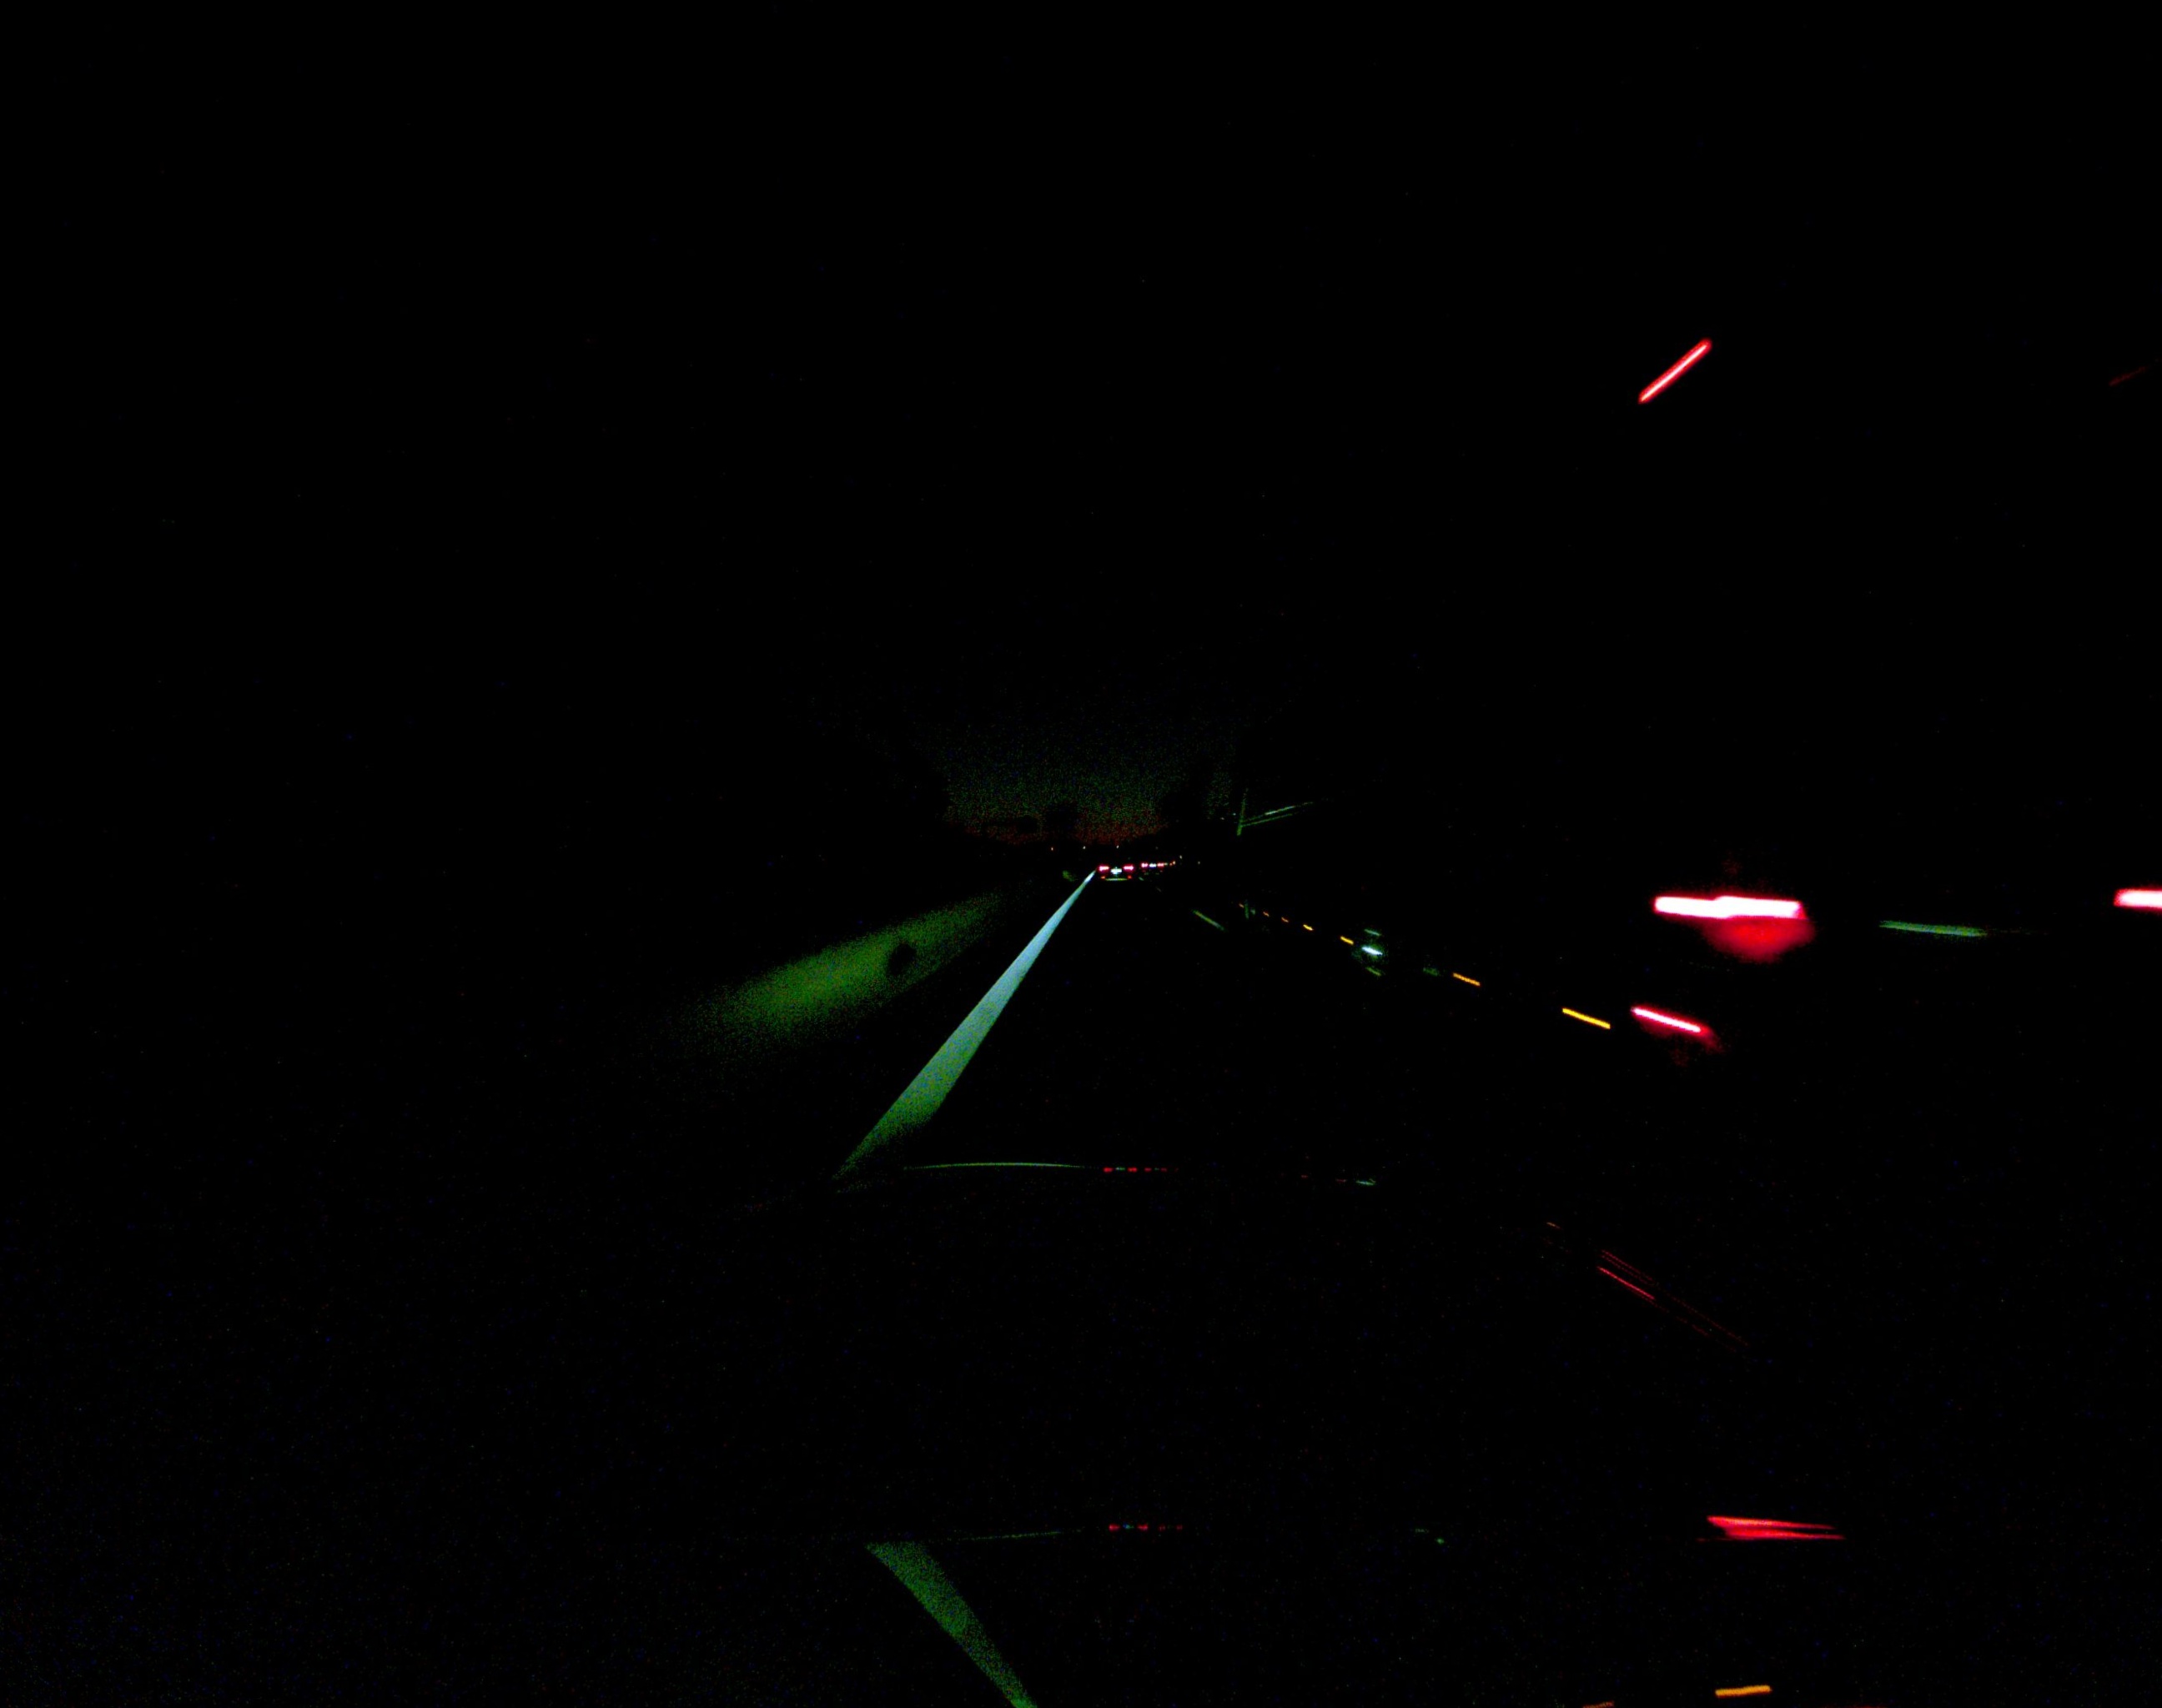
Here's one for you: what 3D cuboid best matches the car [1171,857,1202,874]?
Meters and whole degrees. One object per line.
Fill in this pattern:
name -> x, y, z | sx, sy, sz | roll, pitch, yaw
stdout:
car -> 8.151, 0.858, 63.221 | 1.905, 1.275, 3.999 | 0, -1, 0

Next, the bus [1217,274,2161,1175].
bus -> 4.201, -0.546, 10.957 | 2.642, 3.994, 14.705 | 0, 0, 1

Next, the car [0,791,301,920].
car -> -14.594, -0.046, 11.778 | 1.986, 1.635, 4.748 | 3, 1, 0

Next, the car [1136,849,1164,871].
car -> 5.385, 0.474, 64.068 | 1.905, 1.730, 3.999 | 0, -1, 0

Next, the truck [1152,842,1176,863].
truck -> 11.947, -0.161, 117.674 | 2.594, 2.875, 7.486 | 2, 0, 1

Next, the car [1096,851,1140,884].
car -> 1.829, 0.662, 41.634 | 2.099, 1.618, 4.204 | 0, 0, 0
